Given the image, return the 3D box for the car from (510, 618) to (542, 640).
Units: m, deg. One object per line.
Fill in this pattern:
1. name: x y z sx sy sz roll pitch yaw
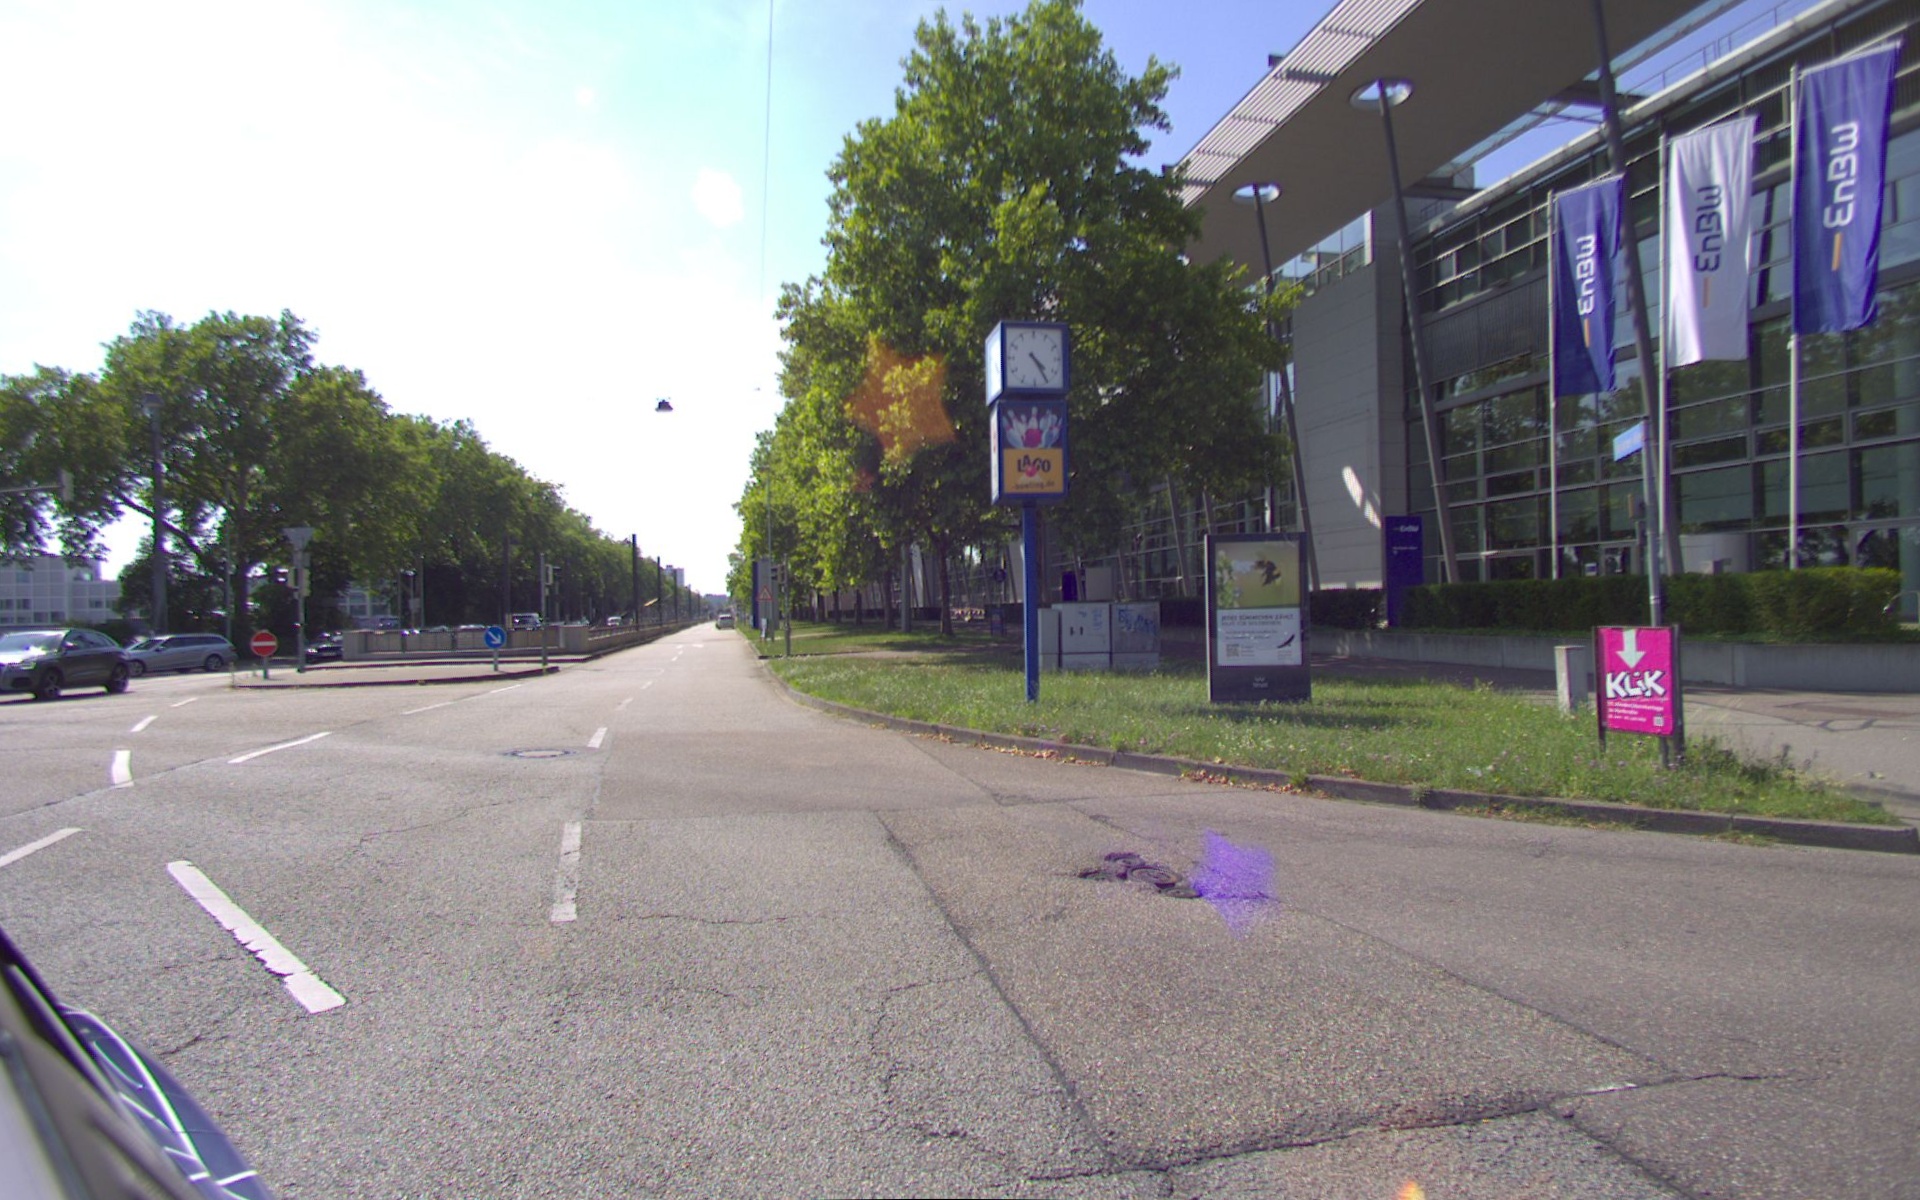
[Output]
1. car: -40.523 2.714 94.515 1.843 1.951 4.008 -1 -1 -10

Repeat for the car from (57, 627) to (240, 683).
1. car: -30.399 2.005 38.148 1.984 1.737 5.134 -4 -1 18

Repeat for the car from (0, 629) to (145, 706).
1. car: -20.998 1.486 23.191 1.800 1.561 4.572 -2 -1 -13

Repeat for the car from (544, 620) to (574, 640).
1. car: -37.663 2.799 95.135 1.843 1.767 4.008 -1 -1 -10

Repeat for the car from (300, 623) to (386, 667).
1. car: -25.407 1.829 41.825 1.789 1.625 4.010 -3 -1 -13

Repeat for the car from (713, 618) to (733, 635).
1. car: -25.267 2.815 107.674 1.872 1.652 4.011 -3 -1 -15
